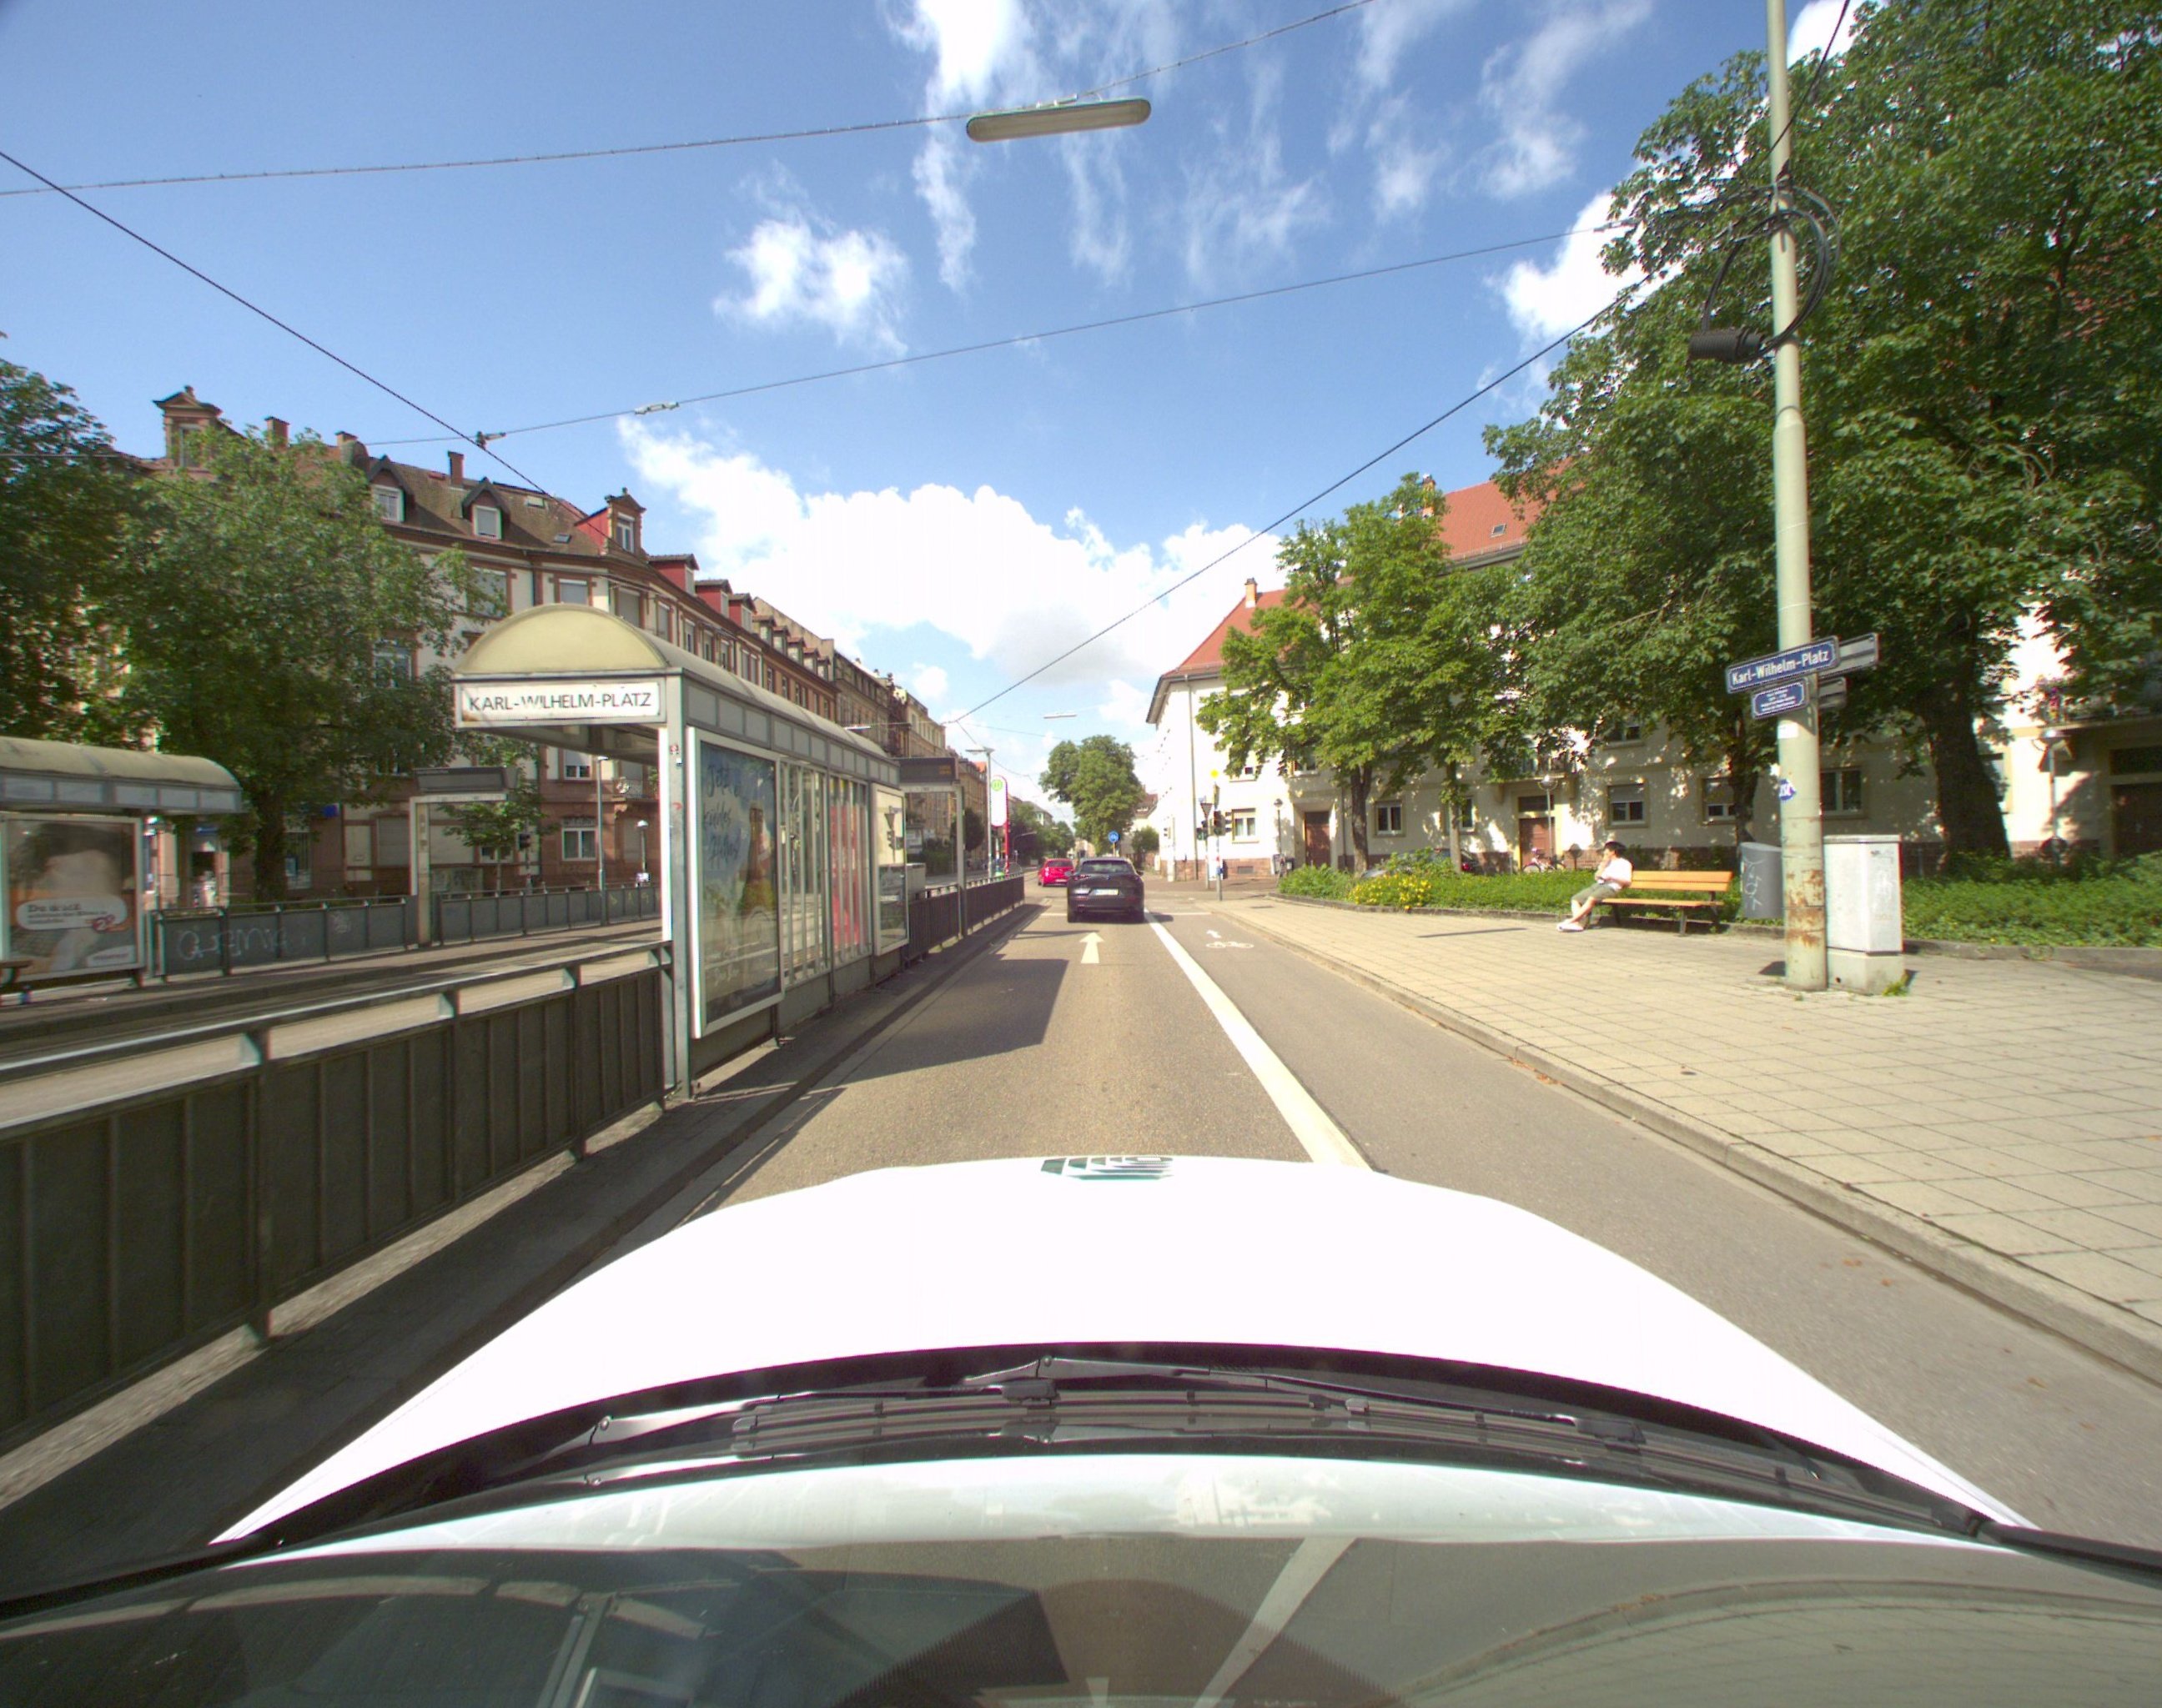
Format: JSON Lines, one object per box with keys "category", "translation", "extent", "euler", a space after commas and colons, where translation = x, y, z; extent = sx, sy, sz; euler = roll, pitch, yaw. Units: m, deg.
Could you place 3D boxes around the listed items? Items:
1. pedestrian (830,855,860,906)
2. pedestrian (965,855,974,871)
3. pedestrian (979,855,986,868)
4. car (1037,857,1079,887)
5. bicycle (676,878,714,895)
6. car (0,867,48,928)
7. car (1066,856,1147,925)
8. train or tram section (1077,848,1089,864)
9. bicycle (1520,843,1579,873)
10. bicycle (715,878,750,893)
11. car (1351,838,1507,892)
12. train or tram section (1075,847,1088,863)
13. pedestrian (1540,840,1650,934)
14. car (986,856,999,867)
{"category": "pedestrian", "translation": [-7.964, 0.895, 27.478], "extent": [0.768, 1.674, 0.668], "euler": [-2, 0, 1]}
{"category": "pedestrian", "translation": [-12.411, 1.021, 90.543], "extent": [0.784, 1.688, 0.732], "euler": [-2, 0, 3]}
{"category": "pedestrian", "translation": [-12.324, 0.947, 102.061], "extent": [0.784, 1.688, 0.732], "euler": [-2, 0, 3]}
{"category": "car", "translation": [-1.252, 0.904, 42.502], "extent": [1.774, 1.464, 3.831], "euler": [0, 0, -8]}
{"category": "bicycle", "translation": [-19.532, 1.630, 41.213], "extent": [0.381, 0.747, 1.722], "euler": [-2, 0, 38]}
{"category": "car", "translation": [-37.458, 1.501, 27.793], "extent": [3.899, 1.988, 1.867], "euler": [-1, 0, 25]}
{"category": "car", "translation": [0.550, 0.813, 20.075], "extent": [1.777, 1.514, 3.998], "euler": [1, 0, -1]}
{"category": "train or tram section", "translation": [0.551, 0.623, 227.127], "extent": [2.986, 3.983, 13.812], "euler": [-2, -1, 2]}
{"category": "bicycle", "translation": [17.173, 0.161, 29.882], "extent": [0.569, 1.020, 1.734], "euler": [-4, 1, -35]}
{"category": "bicycle", "translation": [-18.319, 1.650, 42.824], "extent": [0.381, 0.747, 1.722], "euler": [-2, 0, 38]}
{"category": "car", "translation": [11.014, 0.350, 25.950], "extent": [4.119, 1.510, 1.863], "euler": [-2, 1, 44]}
{"category": "train or tram section", "translation": [0.158, 0.377, 213.333], "extent": [2.986, 3.983, 13.812], "euler": [-2, -1, 2]}
{"category": "pedestrian", "translation": [7.498, 0.472, 11.909], "extent": [1.189, 1.269, 0.557], "euler": [-4, 0, -3]}
{"category": "car", "translation": [-14.296, 1.226, 131.977], "extent": [1.651, 1.596, 3.930], "euler": [-2, 0, 1]}
